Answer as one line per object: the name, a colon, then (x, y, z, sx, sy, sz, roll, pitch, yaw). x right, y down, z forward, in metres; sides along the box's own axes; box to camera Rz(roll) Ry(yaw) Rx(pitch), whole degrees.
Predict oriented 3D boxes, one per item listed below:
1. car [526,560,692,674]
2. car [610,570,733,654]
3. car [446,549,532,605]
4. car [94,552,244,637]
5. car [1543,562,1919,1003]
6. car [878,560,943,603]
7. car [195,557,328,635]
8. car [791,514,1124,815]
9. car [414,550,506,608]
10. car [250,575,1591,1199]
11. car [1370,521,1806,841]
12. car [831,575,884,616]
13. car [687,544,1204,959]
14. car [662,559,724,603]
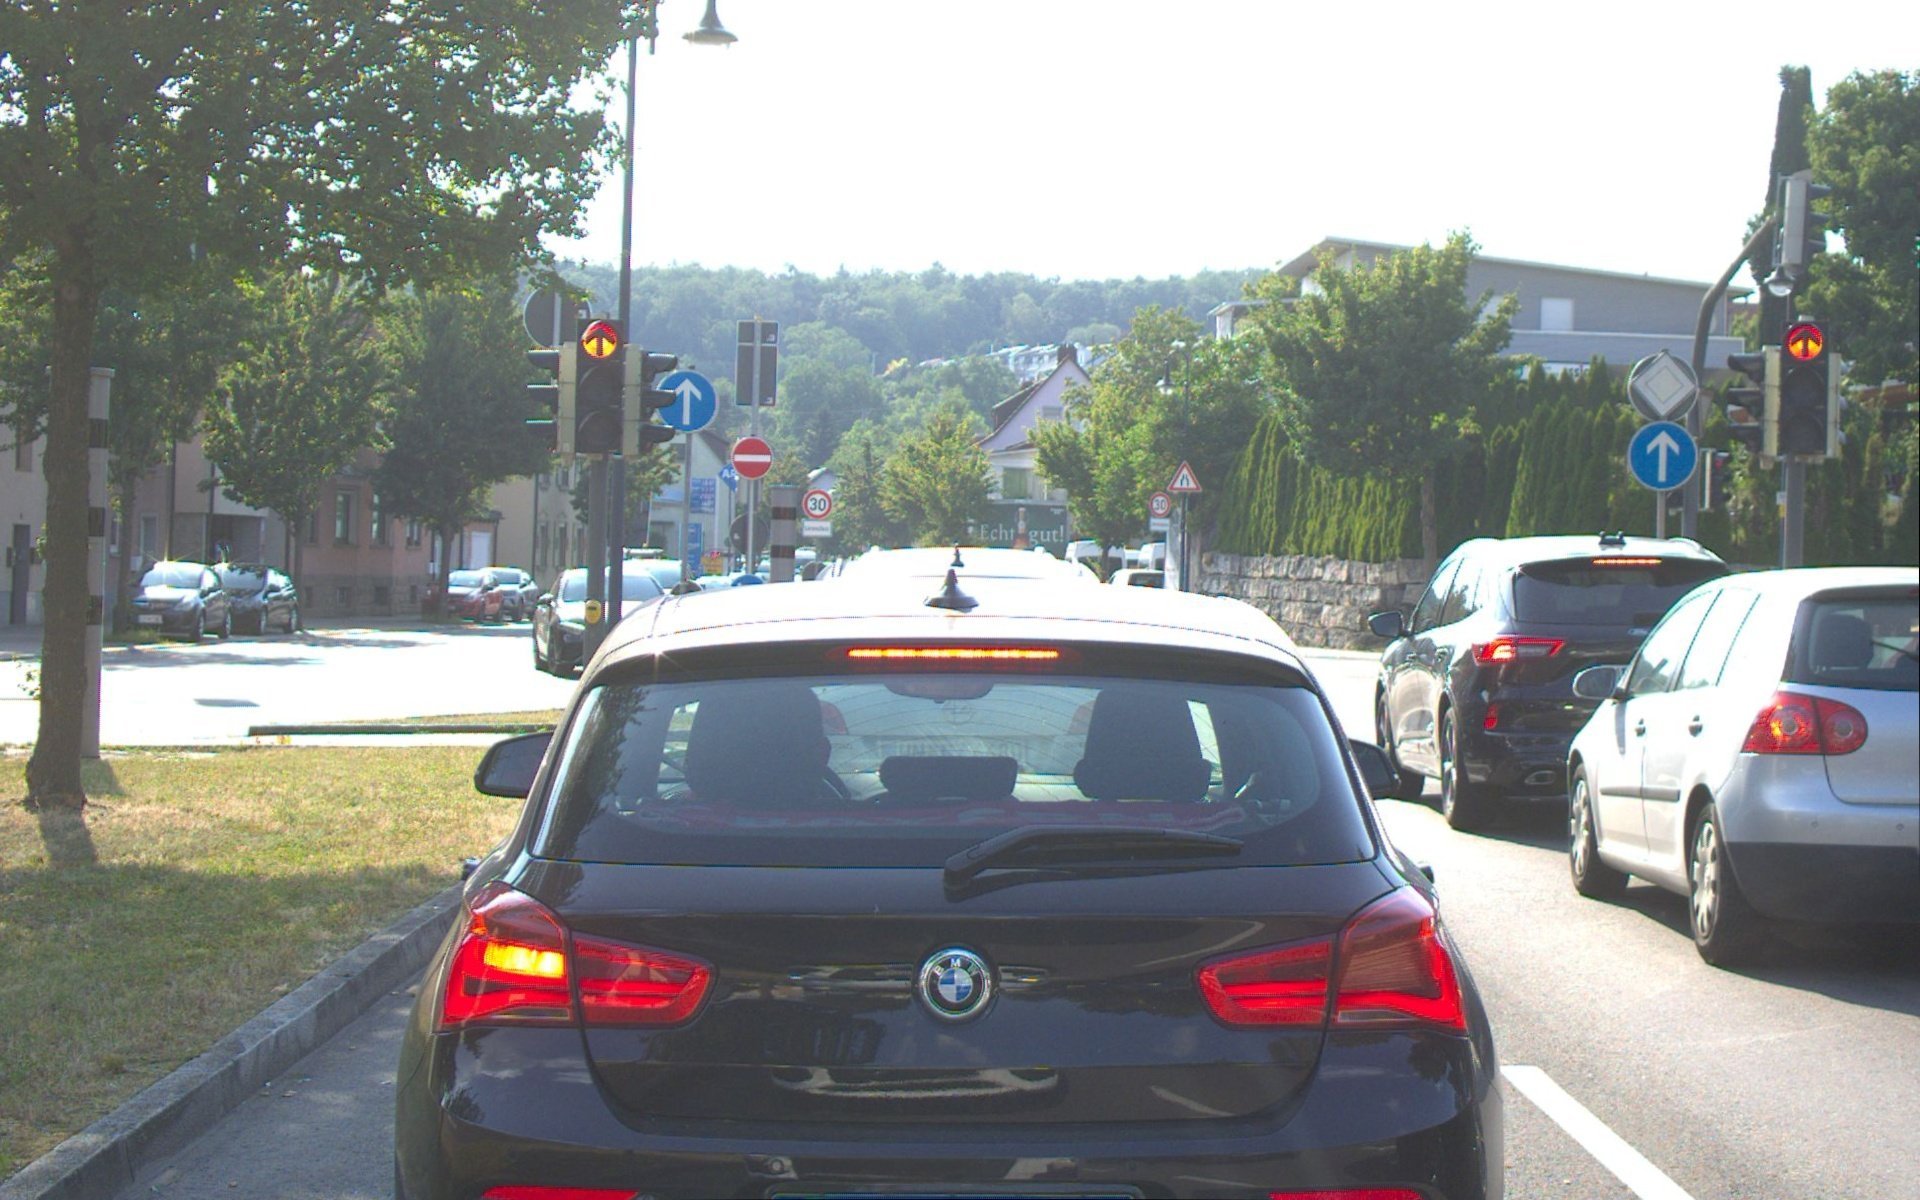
car: (-4.840, 0.205, 46.996, 1.766, 1.453, 4.001, 1, 1, -13)
car: (-4.965, 0.188, 59.503, 1.693, 1.348, 4.000, 1, 1, 1)
car: (-14.060, -0.703, 102.812, 1.924, 1.590, 4.000, 1, 1, 1)
car: (-15.410, -0.131, 67.183, 1.924, 1.590, 4.000, 1, 1, 1)
car: (3.556, 0.591, 13.596, 1.816, 1.441, 4.347, 1, 1, 1)
car: (-1.804, -0.679, 123.578, 1.861, 1.480, 4.660, 1, 1, -6)
car: (-14.878, -0.107, 73.374, 1.924, 1.590, 4.000, 1, 1, 1)
car: (0.021, 0.320, 20.998, 1.816, 1.635, 4.242, 1, 1, 1)
car: (-14.126, -0.615, 97.307, 1.924, 1.590, 4.000, 1, 1, 1)
car: (-0.023, 0.685, 6.788, 1.791, 1.410, 4.347, 1, 1, 1)
car: (3.560, 0.390, 20.252, 1.816, 1.660, 4.347, 1, 1, 1)
car: (-4.361, -0.206, 145.219, 1.890, 1.696, 4.525, -1, 1, -6)
car: (-0.017, 0.501, 14.283, 1.816, 1.446, 4.242, 1, 1, 1)
car: (-9.991, -0.715, 128.824, 1.924, 1.590, 4.000, 1, 1, 1)
